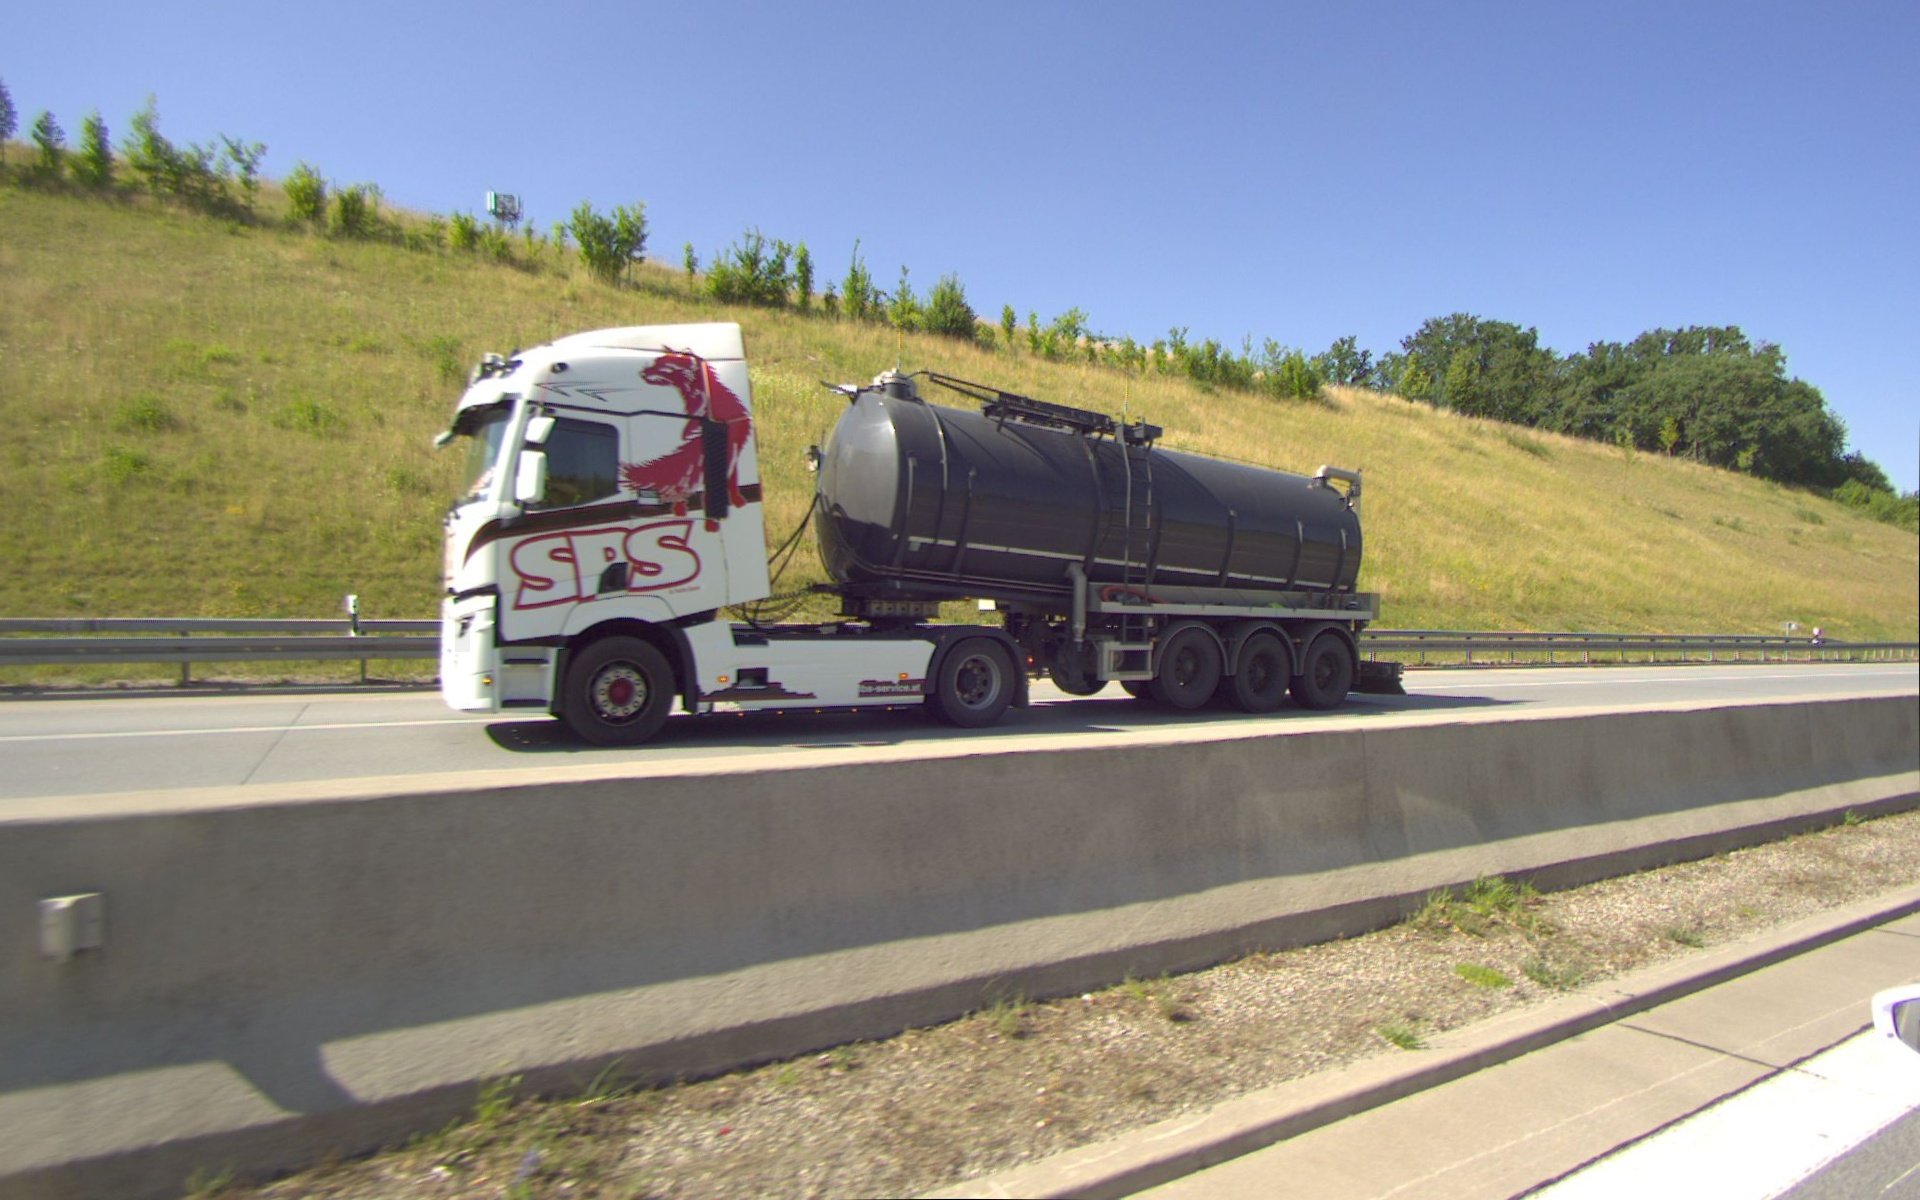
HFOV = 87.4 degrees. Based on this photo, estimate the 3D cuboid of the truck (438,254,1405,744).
[{"bbox_3d":[0.502,-0.667,12.603,12.308,3.994,2.742,2,0,-32],"label":"truck"}]
